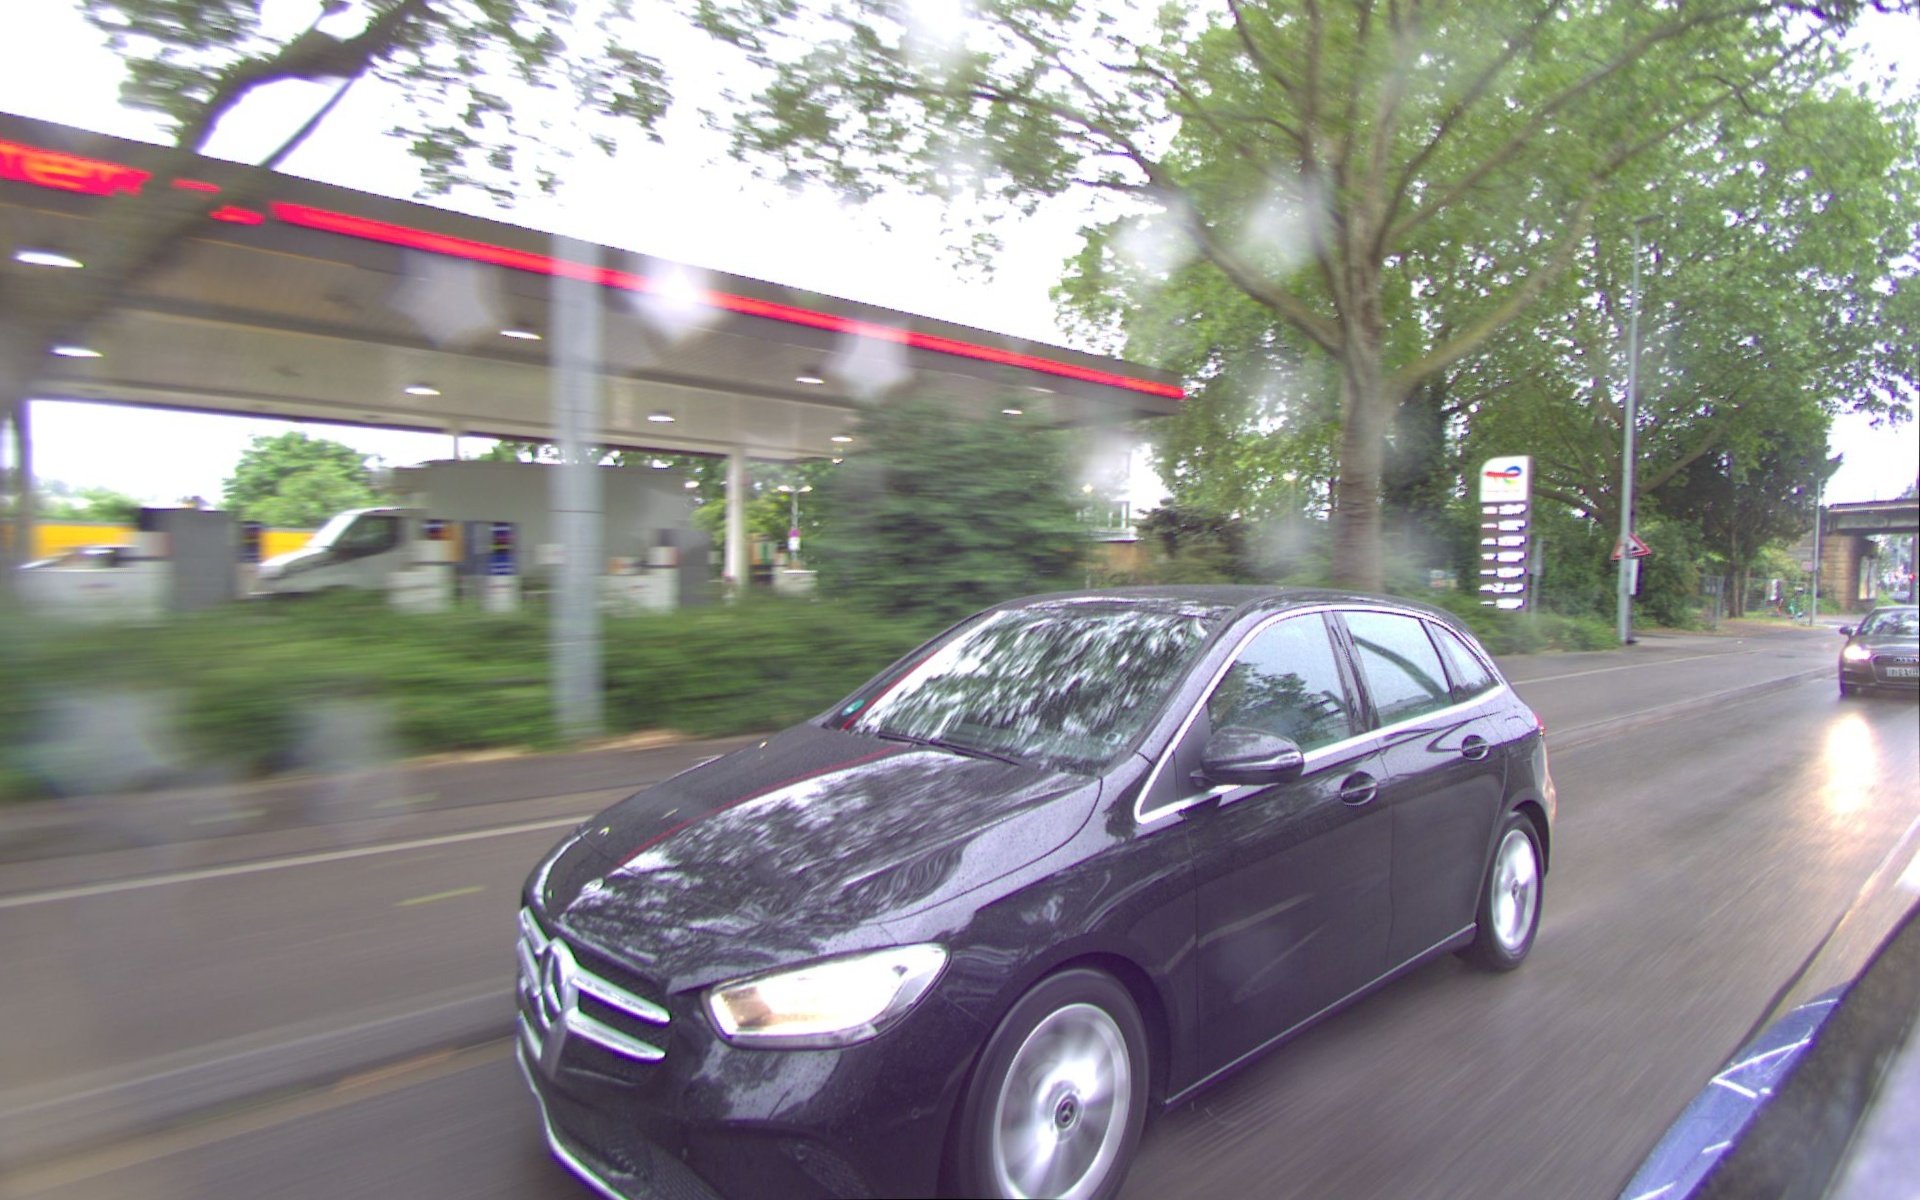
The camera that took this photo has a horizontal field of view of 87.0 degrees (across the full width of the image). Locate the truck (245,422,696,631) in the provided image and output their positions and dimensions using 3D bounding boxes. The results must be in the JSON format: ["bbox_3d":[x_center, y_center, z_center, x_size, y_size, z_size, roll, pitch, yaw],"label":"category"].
[{"bbox_3d":[-9.336,-1.233,20.050,7.638,3.394,2.697,0,0,-43],"label":"truck"}]

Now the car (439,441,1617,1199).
[{"bbox_3d":[0.698,0.600,3.792,4.343,1.549,1.820,4,-1,-41],"label":"car"}]

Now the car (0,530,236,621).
[{"bbox_3d":[-16.601,-0.453,19.810,3.812,1.613,1.832,0,0,-41],"label":"car"}]

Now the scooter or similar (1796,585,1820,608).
[{"bbox_3d":[44.214,-0.171,52.764,1.792,1.173,0.454,0,0,-34],"label":"scooter or similar"}]

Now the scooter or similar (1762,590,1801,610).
[{"bbox_3d":[42.256,-0.006,52.070,1.705,1.022,0.454,0,0,-3],"label":"scooter or similar"}]

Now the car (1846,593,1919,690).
[{"bbox_3d":[15.628,0.607,16.151,3.714,1.402,1.641,-1,1,-39],"label":"car"}]

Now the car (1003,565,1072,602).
[{"bbox_3d":[3.409,-0.742,43.625,1.973,1.506,4.606,0,2,18],"label":"car"}]
